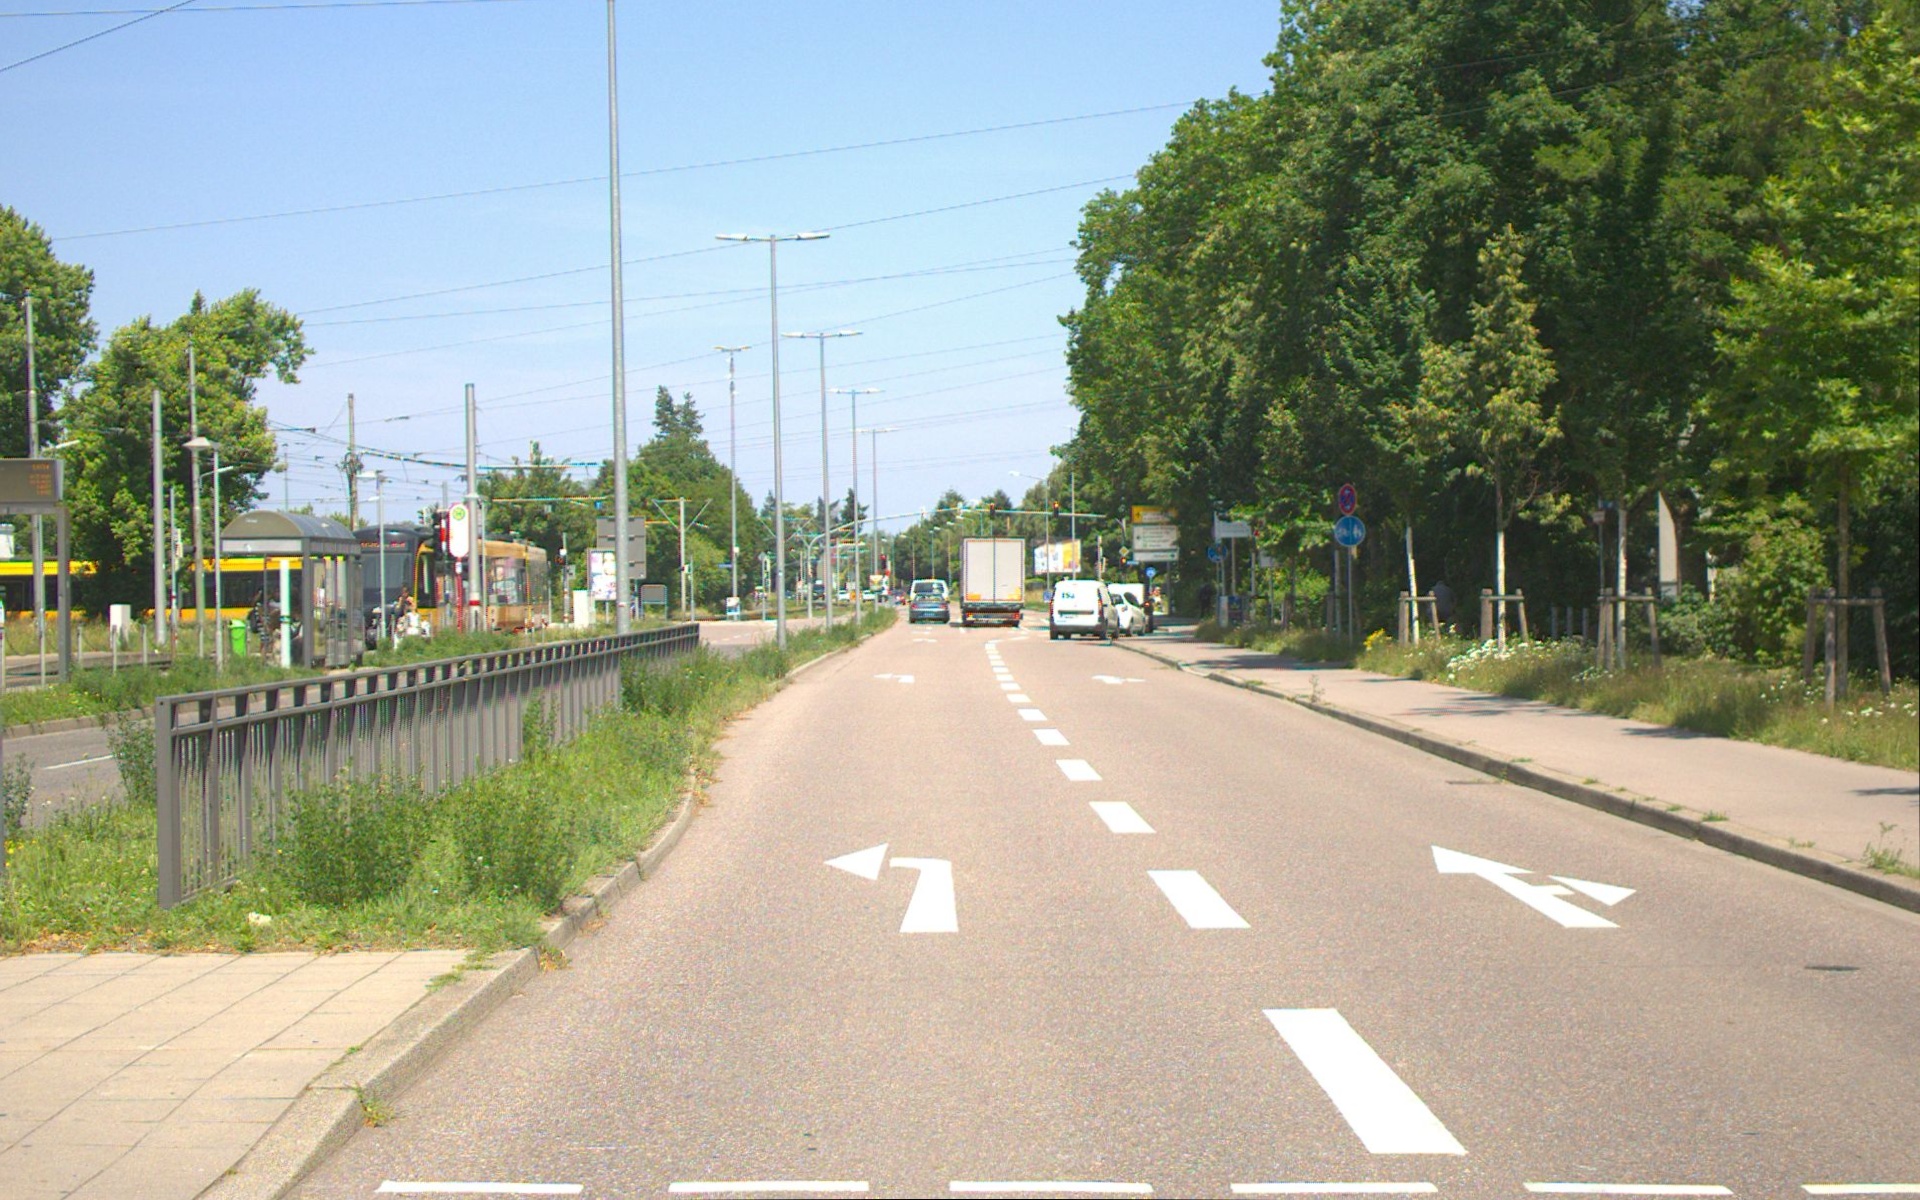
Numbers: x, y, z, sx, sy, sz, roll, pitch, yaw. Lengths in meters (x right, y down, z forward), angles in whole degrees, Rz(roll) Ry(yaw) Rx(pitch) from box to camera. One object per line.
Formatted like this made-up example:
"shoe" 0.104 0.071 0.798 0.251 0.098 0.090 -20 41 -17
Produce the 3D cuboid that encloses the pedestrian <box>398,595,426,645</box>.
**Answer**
"pedestrian" -13.164 0.488 82.531 0.580 1.185 0.536 1 0 -1

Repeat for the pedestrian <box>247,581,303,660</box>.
"pedestrian" -13.540 0.396 67.984 0.930 1.541 0.985 1 0 -2

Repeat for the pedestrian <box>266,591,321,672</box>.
"pedestrian" -12.930 0.609 66.711 0.874 1.541 1.026 1 0 -2

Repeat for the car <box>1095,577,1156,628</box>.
"car" 5.487 0.055 114.410 1.699 1.648 4.399 1 0 -1

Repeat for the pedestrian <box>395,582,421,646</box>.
"pedestrian" -13.473 0.339 83.904 0.534 1.560 0.582 1 0 -1

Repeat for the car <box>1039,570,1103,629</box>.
"car" 3.391 -0.038 104.474 1.710 1.741 4.426 1 0 5

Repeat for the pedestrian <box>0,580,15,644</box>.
"pedestrian" -23.536 0.295 84.092 0.801 1.560 0.536 1 0 -14

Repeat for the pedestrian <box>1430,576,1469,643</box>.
"pedestrian" 10.293 0.202 72.305 0.708 1.393 0.763 1 0 1

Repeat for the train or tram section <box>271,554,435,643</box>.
"train or tram section" -24.837 -0.119 139.898 3.036 3.454 12.753 1 0 -27

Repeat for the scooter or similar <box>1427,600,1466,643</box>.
"scooter or similar" 10.303 0.450 72.789 0.708 0.890 0.763 1 0 1

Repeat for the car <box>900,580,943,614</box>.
"car" -1.755 -0.143 156.867 1.892 1.367 4.430 2 -1 -1

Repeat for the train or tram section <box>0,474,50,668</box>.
"train or tram section" -19.251 -0.534 60.919 3.043 3.612 13.899 1 0 -2

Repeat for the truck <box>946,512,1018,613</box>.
"truck" 0.952 -1.714 154.399 2.827 4.329 8.285 1 1 -2

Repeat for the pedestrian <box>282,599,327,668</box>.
"pedestrian" -12.440 0.632 65.241 0.701 1.279 0.840 1 0 -2

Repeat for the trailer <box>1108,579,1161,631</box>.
"trailer" 5.614 0.150 110.762 1.468 1.663 2.856 1 0 -2

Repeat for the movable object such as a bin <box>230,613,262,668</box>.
"movable object such as a bin" -12.736 0.716 61.321 0.481 0.974 0.645 -1 0 -4

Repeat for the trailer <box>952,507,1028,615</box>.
"trailer" 1.233 -1.622 145.909 2.827 4.406 8.750 1 0 -2

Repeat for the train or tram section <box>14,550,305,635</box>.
"train or tram section" -34.659 -0.370 148.604 13.241 3.454 3.042 1 0 26
